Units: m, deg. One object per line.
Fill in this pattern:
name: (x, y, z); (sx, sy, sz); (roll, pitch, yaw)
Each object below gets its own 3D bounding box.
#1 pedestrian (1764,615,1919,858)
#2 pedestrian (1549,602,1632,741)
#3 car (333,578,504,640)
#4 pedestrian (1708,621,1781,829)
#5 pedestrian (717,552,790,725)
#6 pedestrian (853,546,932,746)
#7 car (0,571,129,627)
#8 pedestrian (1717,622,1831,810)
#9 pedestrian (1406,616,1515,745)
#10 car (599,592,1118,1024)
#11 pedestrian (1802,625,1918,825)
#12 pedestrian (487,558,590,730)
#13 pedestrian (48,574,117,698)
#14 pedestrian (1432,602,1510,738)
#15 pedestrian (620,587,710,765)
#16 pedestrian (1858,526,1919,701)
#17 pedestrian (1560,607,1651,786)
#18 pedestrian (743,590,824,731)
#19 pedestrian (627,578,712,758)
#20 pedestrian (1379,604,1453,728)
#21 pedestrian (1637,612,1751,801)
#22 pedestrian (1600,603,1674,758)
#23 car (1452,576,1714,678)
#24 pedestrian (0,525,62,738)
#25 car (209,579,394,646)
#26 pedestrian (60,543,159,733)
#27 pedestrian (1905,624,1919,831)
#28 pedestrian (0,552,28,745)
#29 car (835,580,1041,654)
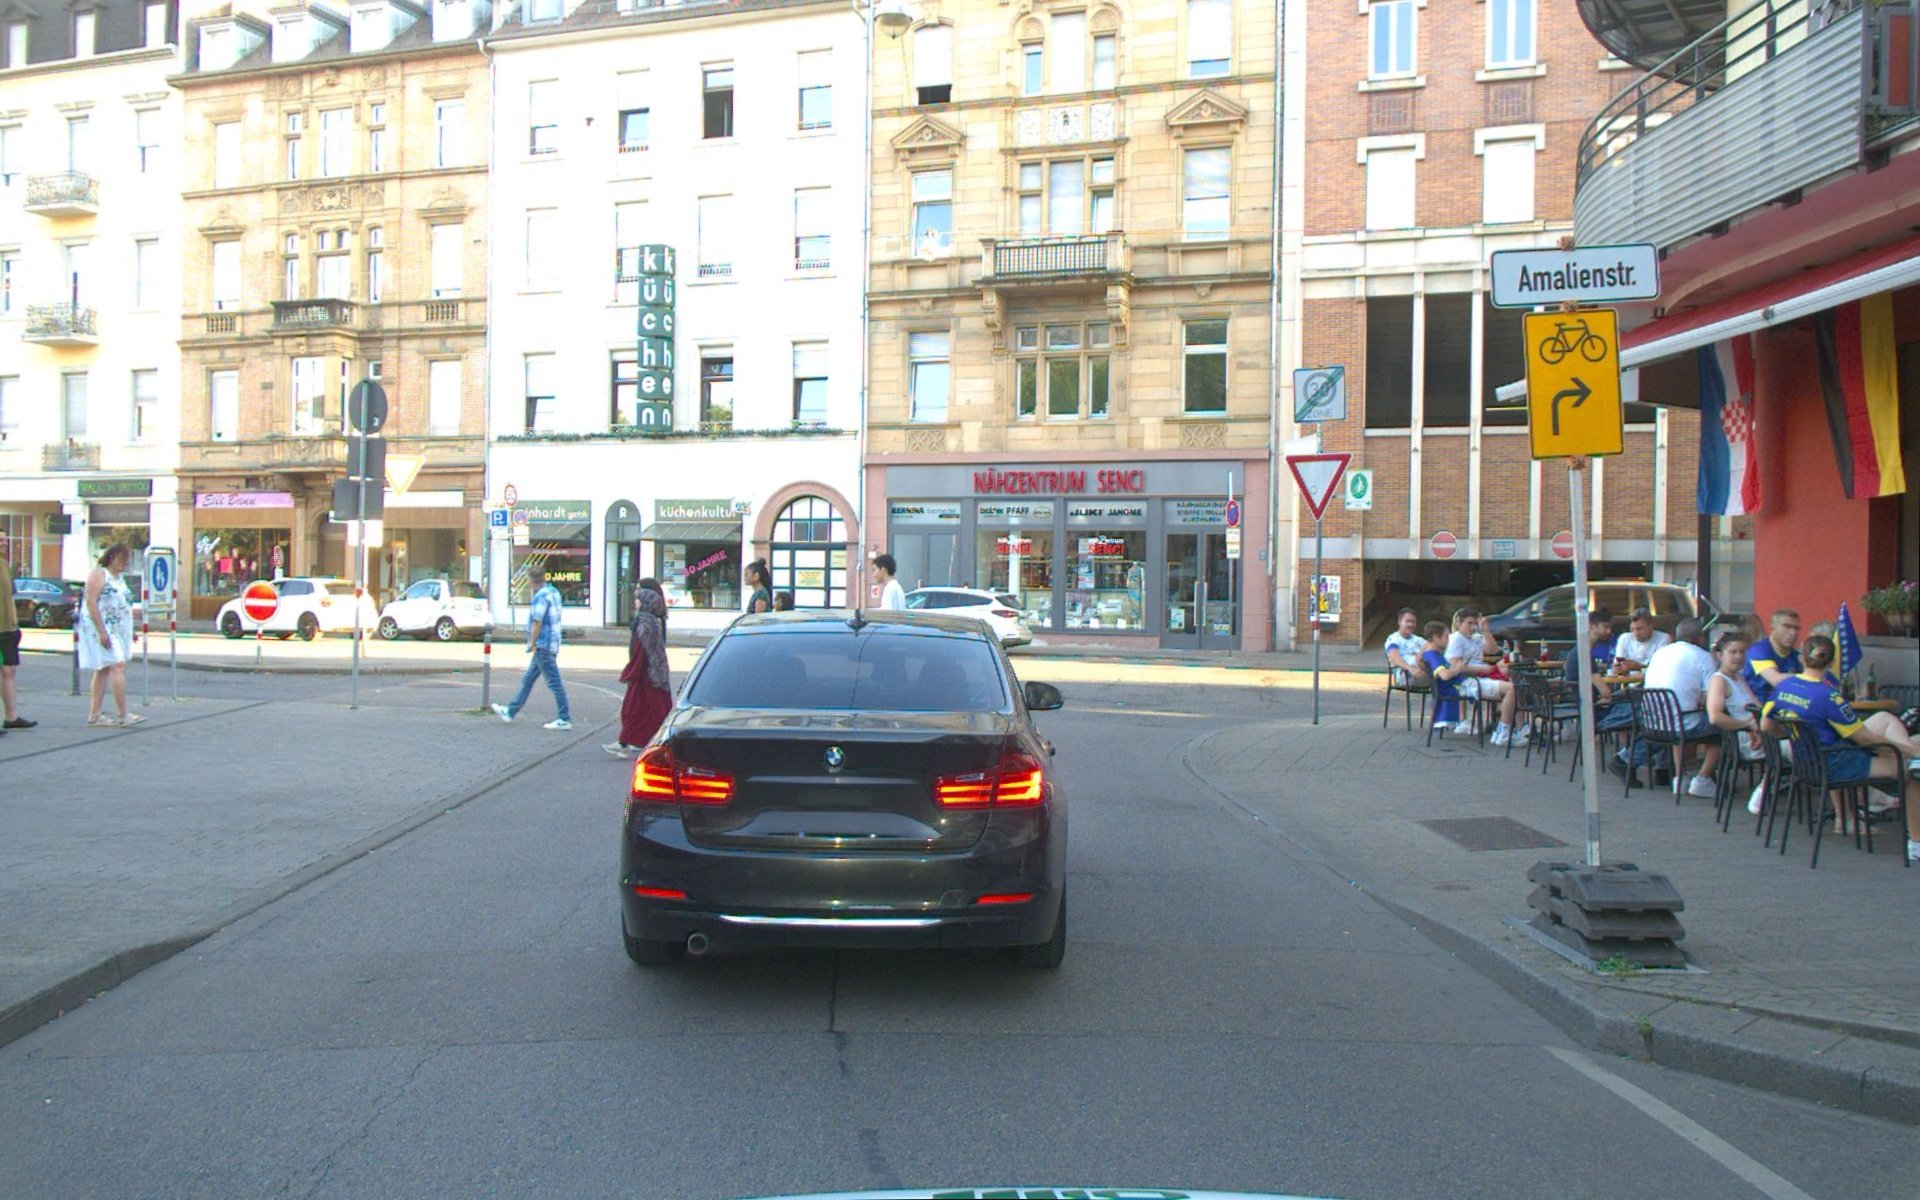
pedestrian: (5.057, 0.742, 9.246); (0.841, 1.279, 0.491); (-2, 0, -3)
pedestrian: (6.130, 0.679, 16.076); (0.606, 1.301, 0.699); (1, 0, 34)
car: (-13.948, 0.234, 42.636); (3.904, 1.537, 1.800); (0, 0, 20)
pedestrian: (4.967, 0.781, 10.484); (0.336, 1.279, 0.360); (-2, 0, 18)
pedestrian: (-2.155, 0.391, 17.307); (0.653, 1.776, 0.607); (0, 0, 3)
pedestrian: (-0.658, 0.439, 16.212); (0.684, 1.910, 0.678); (1, 0, 1)
car: (-25.975, -0.026, 47.255); (3.904, 1.537, 1.800); (0, 0, 20)
pedestrian: (5.533, 0.772, 11.245); (0.415, 1.222, 0.560); (-2, 0, -44)
pedestrian: (4.730, 0.748, 15.659); (0.871, 1.170, 0.619); (0, 0, 4)
car: (-0.432, 0.703, 8.025); (1.729, 1.399, 4.788); (2, 1, -2)
pedestrian: (5.741, 0.780, 10.554); (0.528, 1.222, 0.415); (-2, 0, 45)
pedestrian: (-4.457, 0.451, 17.514); (0.876, 1.755, 0.608); (2, 2, 3)
pedestrian: (-10.400, 0.417, 19.597); (0.525, 1.433, 0.469); (2, 0, 28)
pedestrian: (5.030, 0.675, 16.297); (0.604, 1.306, 0.660); (0, 0, 5)
pedestrian: (-2.654, 0.665, 14.848); (0.722, 1.540, 0.648); (2, 0, -12)
pedestrian: (9.173, 0.128, 15.855); (0.705, 1.635, 0.681); (2, 0, -29)
pedestrian: (4.969, 0.732, 12.747); (0.481, 1.326, 0.418); (-2, 0, -3)
pedestrian: (-1.908, 0.642, 17.963); (0.798, 1.500, 0.607); (0, 0, 1)
pedestrian: (-2.733, 0.623, 15.550); (0.711, 1.637, 0.648); (2, 0, -12)
pedestrian: (4.813, 0.685, 17.502); (0.604, 1.276, 0.736); (0, 0, 3)
pedestrian: (5.332, 0.753, 12.008); (0.622, 1.298, 0.504); (-2, 0, -40)
pedestrian: (5.845, 0.682, 14.295); (0.479, 1.299, 0.522); (0, 0, 10)
car: (10.750, 0.445, 28.832); (4.093, 1.653, 1.801); (1, 0, 15)
pedestrian: (-8.711, 0.278, 15.184); (0.571, 1.915, 0.634); (0, 0, 3)
car: (-15.515, 0.255, 38.976); (3.907, 1.498, 1.883); (1, 1, 24)
pedestrian: (-8.174, 0.348, 15.897); (0.662, 1.776, 0.653); (1, 0, 42)
pedestrian: (6.166, 0.760, 9.722); (0.763, 1.244, 0.714); (-2, 0, -3)
pedestrian: (-8.577, 0.416, 14.525); (0.490, 1.672, 0.520); (0, 0, -1)
car: (-0.487, 0.374, 37.443); (4.261, 1.590, 1.869); (0, 0, 20)
